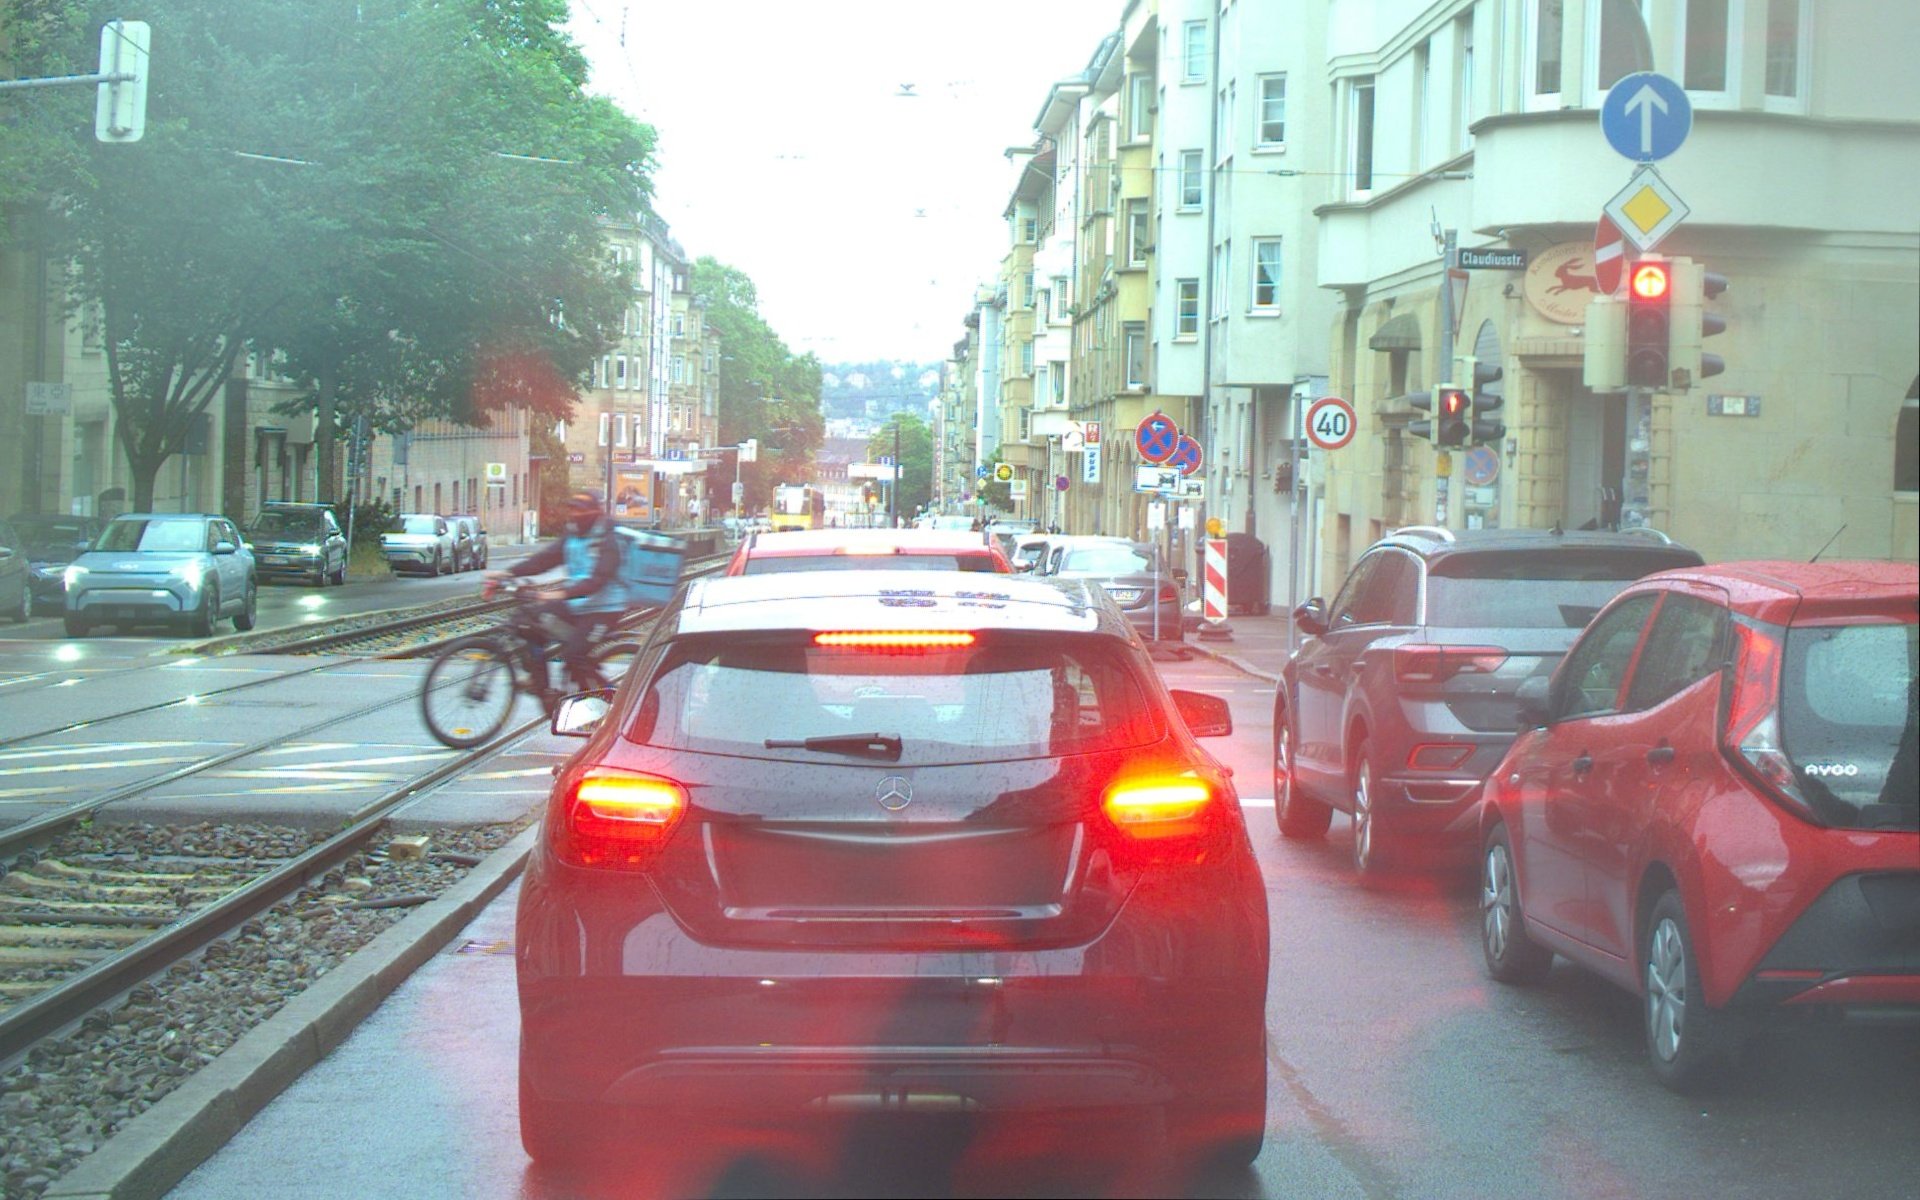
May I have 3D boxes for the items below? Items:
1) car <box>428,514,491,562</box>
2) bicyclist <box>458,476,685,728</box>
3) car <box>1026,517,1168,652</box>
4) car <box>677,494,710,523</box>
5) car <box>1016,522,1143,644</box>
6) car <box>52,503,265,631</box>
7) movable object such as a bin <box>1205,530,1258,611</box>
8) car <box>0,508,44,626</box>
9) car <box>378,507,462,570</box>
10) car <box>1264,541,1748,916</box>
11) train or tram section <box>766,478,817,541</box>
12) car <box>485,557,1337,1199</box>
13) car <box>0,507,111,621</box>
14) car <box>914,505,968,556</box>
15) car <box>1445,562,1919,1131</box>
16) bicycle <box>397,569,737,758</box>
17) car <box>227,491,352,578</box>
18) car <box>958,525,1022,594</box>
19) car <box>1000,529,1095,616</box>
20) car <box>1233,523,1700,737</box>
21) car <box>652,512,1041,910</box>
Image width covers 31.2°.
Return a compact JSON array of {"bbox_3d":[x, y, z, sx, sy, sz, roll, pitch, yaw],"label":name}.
[{"bbox_3d":[-14.340,-1.767,98.651,1.448,1.326,3.272,1,1,-2],"label":"car"},{"bbox_3d":[-2.531,0.013,22.325,1.249,1.592,0.887,1,0,-22],"label":"bicyclist"},{"bbox_3d":[1.662,-0.219,42.717,1.544,1.585,3.548,1,1,-1],"label":"car"},{"bbox_3d":[-12.385,-4.254,159.928,1.377,1.245,3.298,1,1,-2],"label":"car"},{"bbox_3d":[1.606,-0.257,47.192,1.544,1.585,3.548,1,1,-1],"label":"car"},{"bbox_3d":[-10.464,-0.431,45.156,1.898,1.582,3.973,1,1,-1],"label":"car"},{"bbox_3d":[4.707,-0.517,59.648,0.878,1.384,0.982,1,0,3],"label":"movable object such as a bin"},{"bbox_3d":[-13.489,-0.450,45.770,1.752,1.547,4.036,1,1,-4],"label":"car"},{"bbox_3d":[-13.997,-1.577,89.242,1.589,1.575,3.918,1,1,-1],"label":"car"},{"bbox_3d":[2.379,0.488,15.840,1.544,1.481,3.830,1,1,-1],"label":"car"},{"bbox_3d":[-10.775,-5.784,220.766,2.783,3.847,10.430,1,1,-1],"label":"train or tram section"},{"bbox_3d":[-0.134,0.639,9.534,1.829,1.453,4.104,1,1,-1],"label":"car"},{"bbox_3d":[-13.741,-0.540,50.800,1.716,1.605,3.919,1,1,-5],"label":"car"},{"bbox_3d":[-0.719,-2.608,129.495,1.993,1.870,4.000,1,0,-1],"label":"car"},{"bbox_3d":[2.642,0.634,10.602,1.642,1.443,3.299,1,1,-3],"label":"car"},{"bbox_3d":[-2.549,0.405,22.320,2.030,1.182,0.827,1,0,-23],"label":"bicycle"},{"bbox_3d":[-13.961,-1.353,71.778,1.875,1.731,3.918,1,0,-1],"label":"car"},{"bbox_3d":[0.630,-0.878,73.670,1.294,1.437,2.929,1,1,-1],"label":"car"},{"bbox_3d":[1.549,-0.516,61.601,1.544,1.481,3.548,1,1,-1],"label":"car"},{"bbox_3d":[4.187,0.220,28.362,3.675,1.630,1.549,1,1,11],"label":"car"},{"bbox_3d":[-0.487,0.435,15.921,1.565,1.604,3.814,1,0,-1],"label":"car"}]
